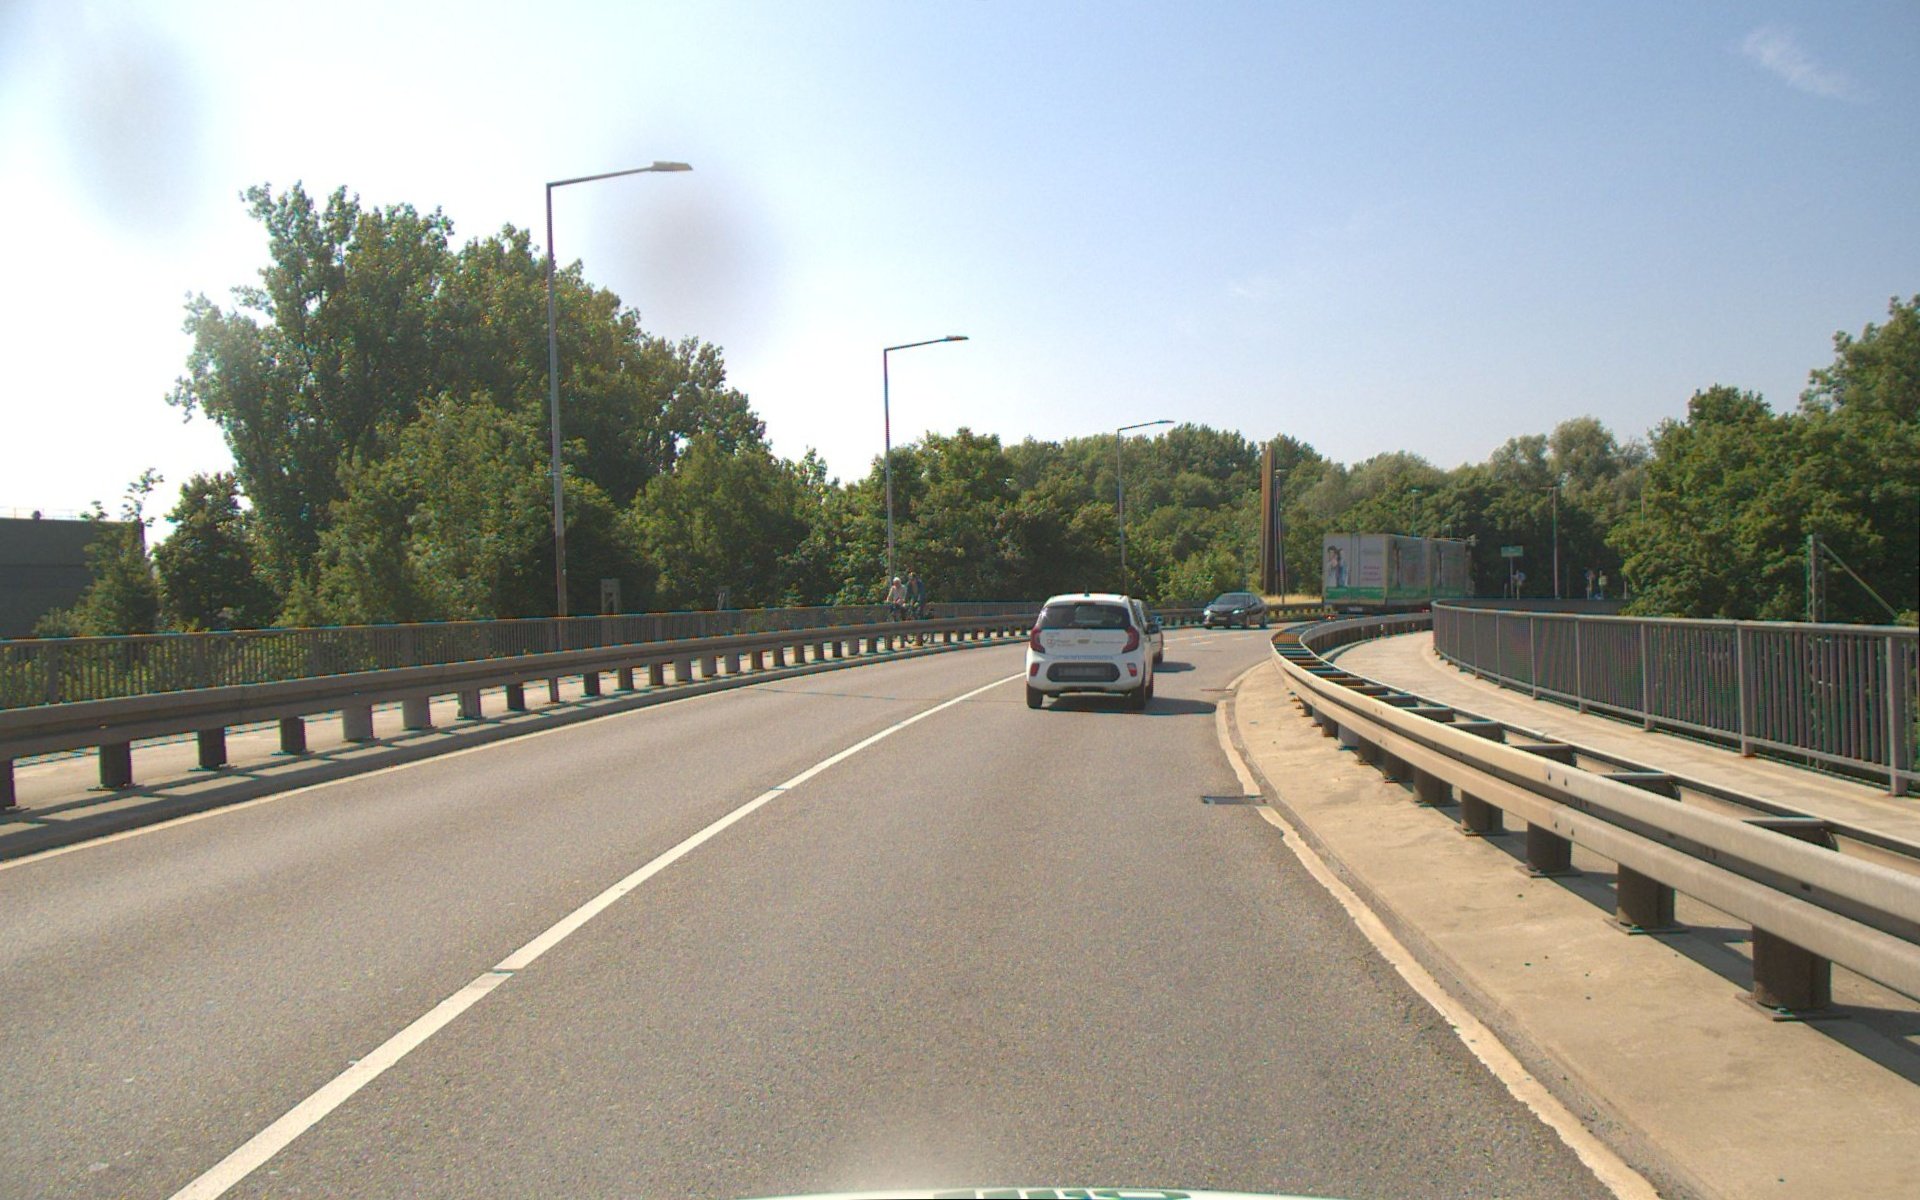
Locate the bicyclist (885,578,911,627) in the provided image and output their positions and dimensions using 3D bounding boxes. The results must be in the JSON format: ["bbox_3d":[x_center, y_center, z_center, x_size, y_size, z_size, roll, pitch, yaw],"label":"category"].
[{"bbox_3d":[-1.748,0.078,46.828,0.478,1.352,0.947,0,-1,13],"label":"bicyclist"}]

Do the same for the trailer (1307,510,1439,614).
[{"bbox_3d":[16.623,-1.497,66.123,3.163,3.823,7.812,2,2,29],"label":"trailer"}]

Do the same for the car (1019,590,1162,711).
[{"bbox_3d":[1.915,0.676,23.289,1.665,1.520,4.003,1,-1,9],"label":"car"}]

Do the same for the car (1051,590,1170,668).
[{"bbox_3d":[3.257,0.556,34.884,1.897,1.512,4.904,0,0,12],"label":"car"}]

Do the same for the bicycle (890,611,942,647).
[{"bbox_3d":[-1.180,0.786,44.789,0.908,0.906,1.969,0,1,15],"label":"bicycle"}]

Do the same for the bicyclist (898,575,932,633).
[{"bbox_3d":[-1.213,0.109,44.742,0.646,1.522,1.017,0,2,17],"label":"bicyclist"}]

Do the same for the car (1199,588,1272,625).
[{"bbox_3d":[11.525,0.251,69.060,1.782,1.455,4.861,-1,1,25],"label":"car"}]

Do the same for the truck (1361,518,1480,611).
[{"bbox_3d":[20.499,-1.563,73.237,3.199,3.823,8.358,2,2,29],"label":"truck"}]

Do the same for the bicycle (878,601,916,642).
[{"bbox_3d":[-1.776,0.600,46.763,0.562,1.065,1.711,-2,1,14],"label":"bicycle"}]
